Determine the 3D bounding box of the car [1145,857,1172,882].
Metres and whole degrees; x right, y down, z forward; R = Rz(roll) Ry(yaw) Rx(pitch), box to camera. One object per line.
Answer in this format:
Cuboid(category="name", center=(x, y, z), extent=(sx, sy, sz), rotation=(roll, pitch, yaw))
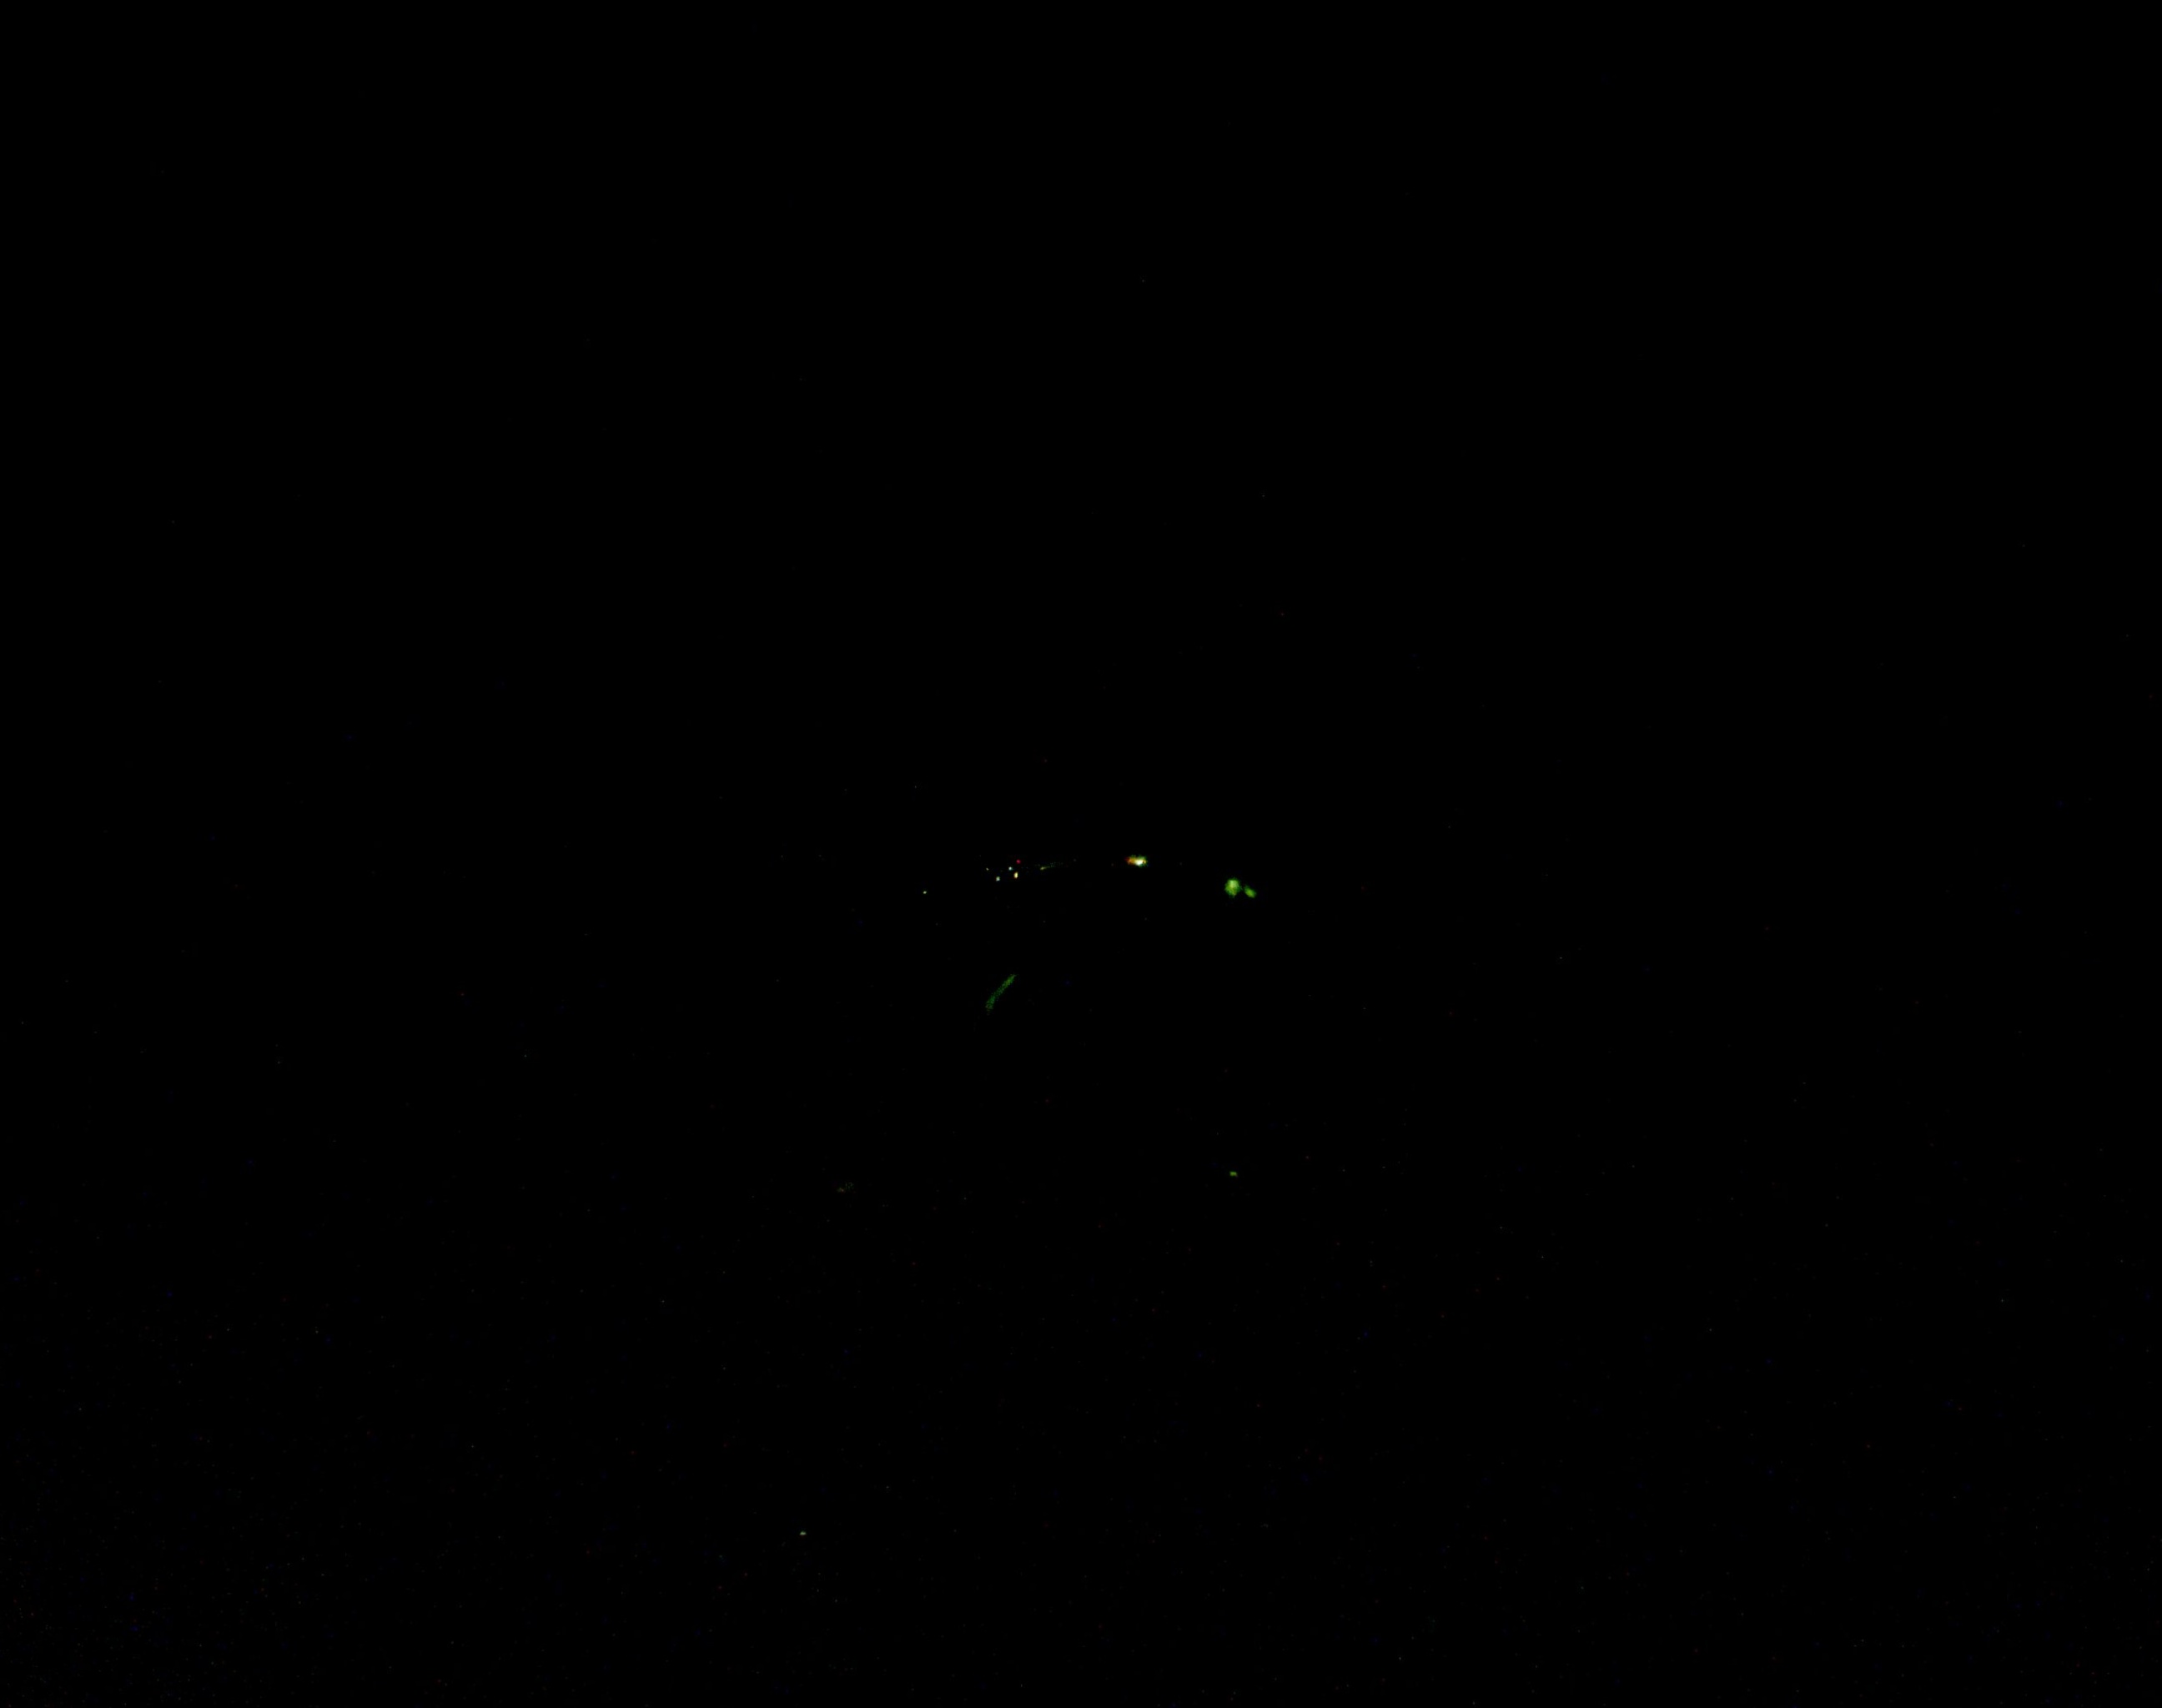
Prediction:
Cuboid(category="car", center=(6.506, 1.333, 69.159), extent=(2.187, 2.014, 4.211), rotation=(0, -3, 4))
